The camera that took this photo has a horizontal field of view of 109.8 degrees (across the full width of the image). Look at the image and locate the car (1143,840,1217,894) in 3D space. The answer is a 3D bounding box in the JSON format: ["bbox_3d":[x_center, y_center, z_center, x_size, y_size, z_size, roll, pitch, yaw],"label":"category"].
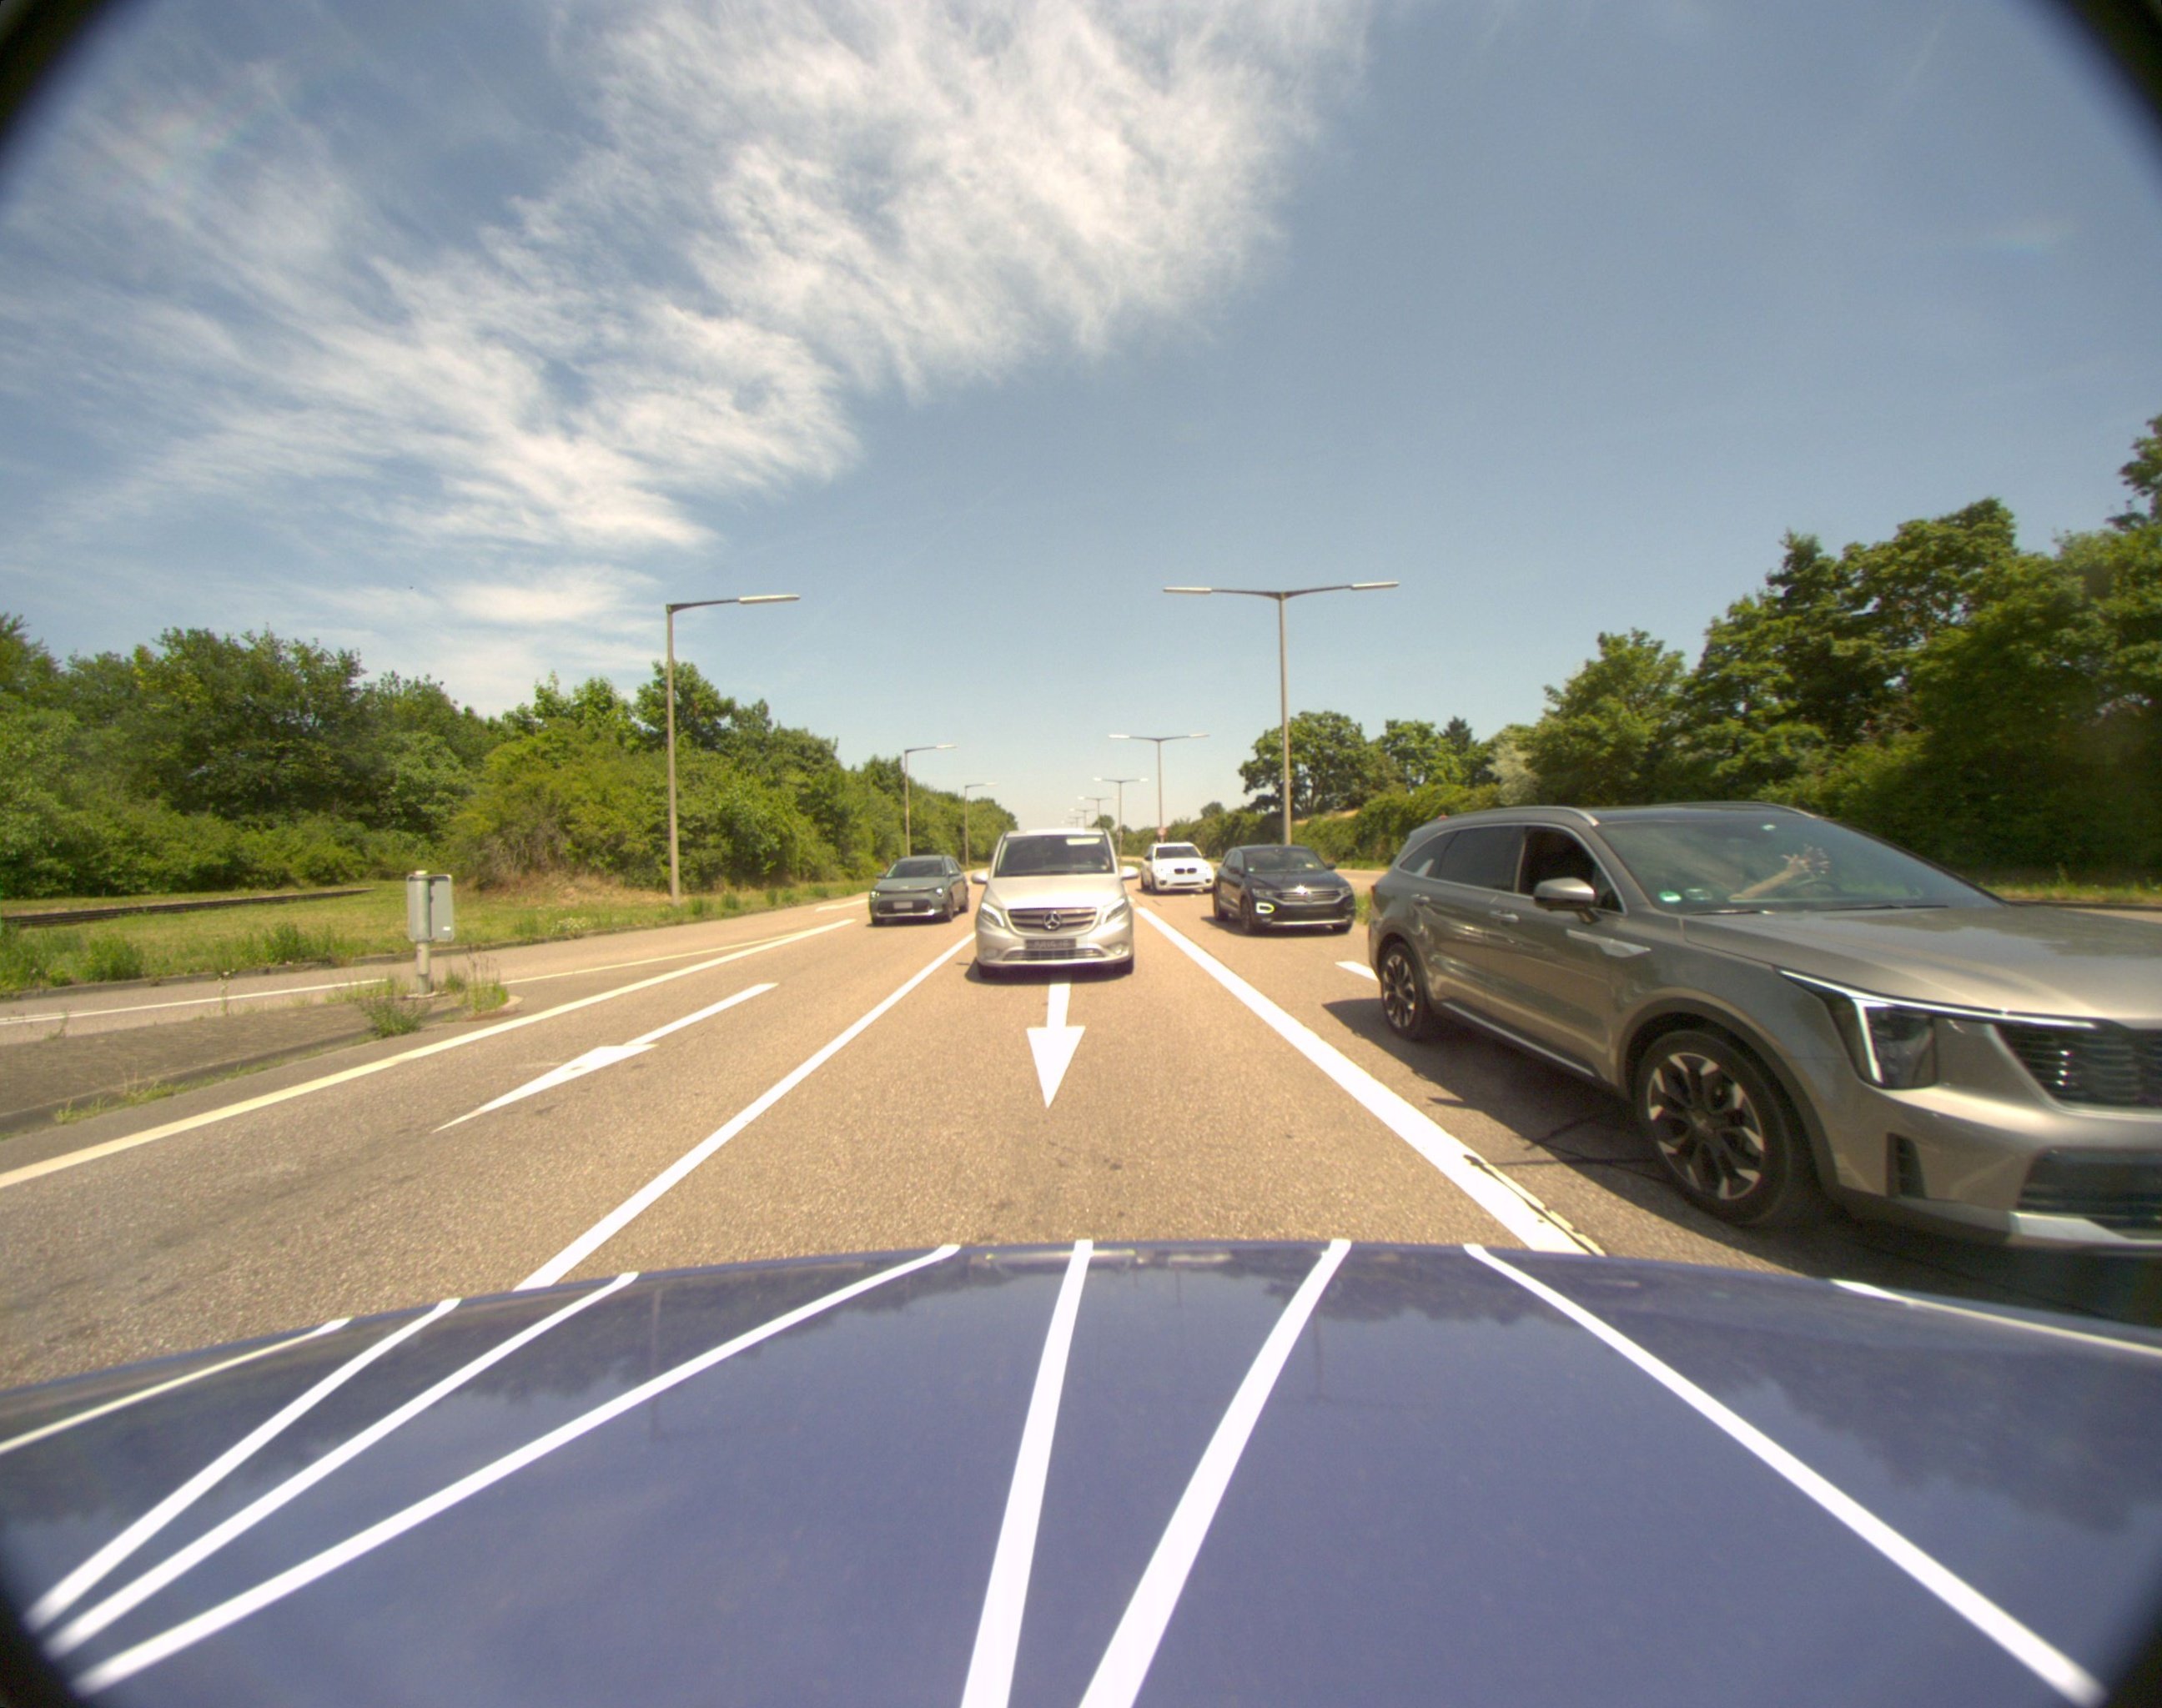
[{"bbox_3d":[3.267,0.385,25.872,1.921,1.662,4.001,-1,1,-1],"label":"car"}]

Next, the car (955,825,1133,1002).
[{"bbox_3d":[-0.339,0.614,11.044,1.876,1.866,5.732,-1,1,1],"label":"car"}]

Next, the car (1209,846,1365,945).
[{"bbox_3d":[3.595,0.635,14.018,1.753,1.491,3.999,-2,1,0],"label":"car"}]

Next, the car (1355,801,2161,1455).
[{"bbox_3d":[3.245,0.664,4.195,1.785,1.658,4.530,-1,1,0],"label":"car"}]

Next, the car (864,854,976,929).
[{"bbox_3d":[-3.789,0.817,18.583,1.722,1.587,4.000,-1,0,2],"label":"car"}]
